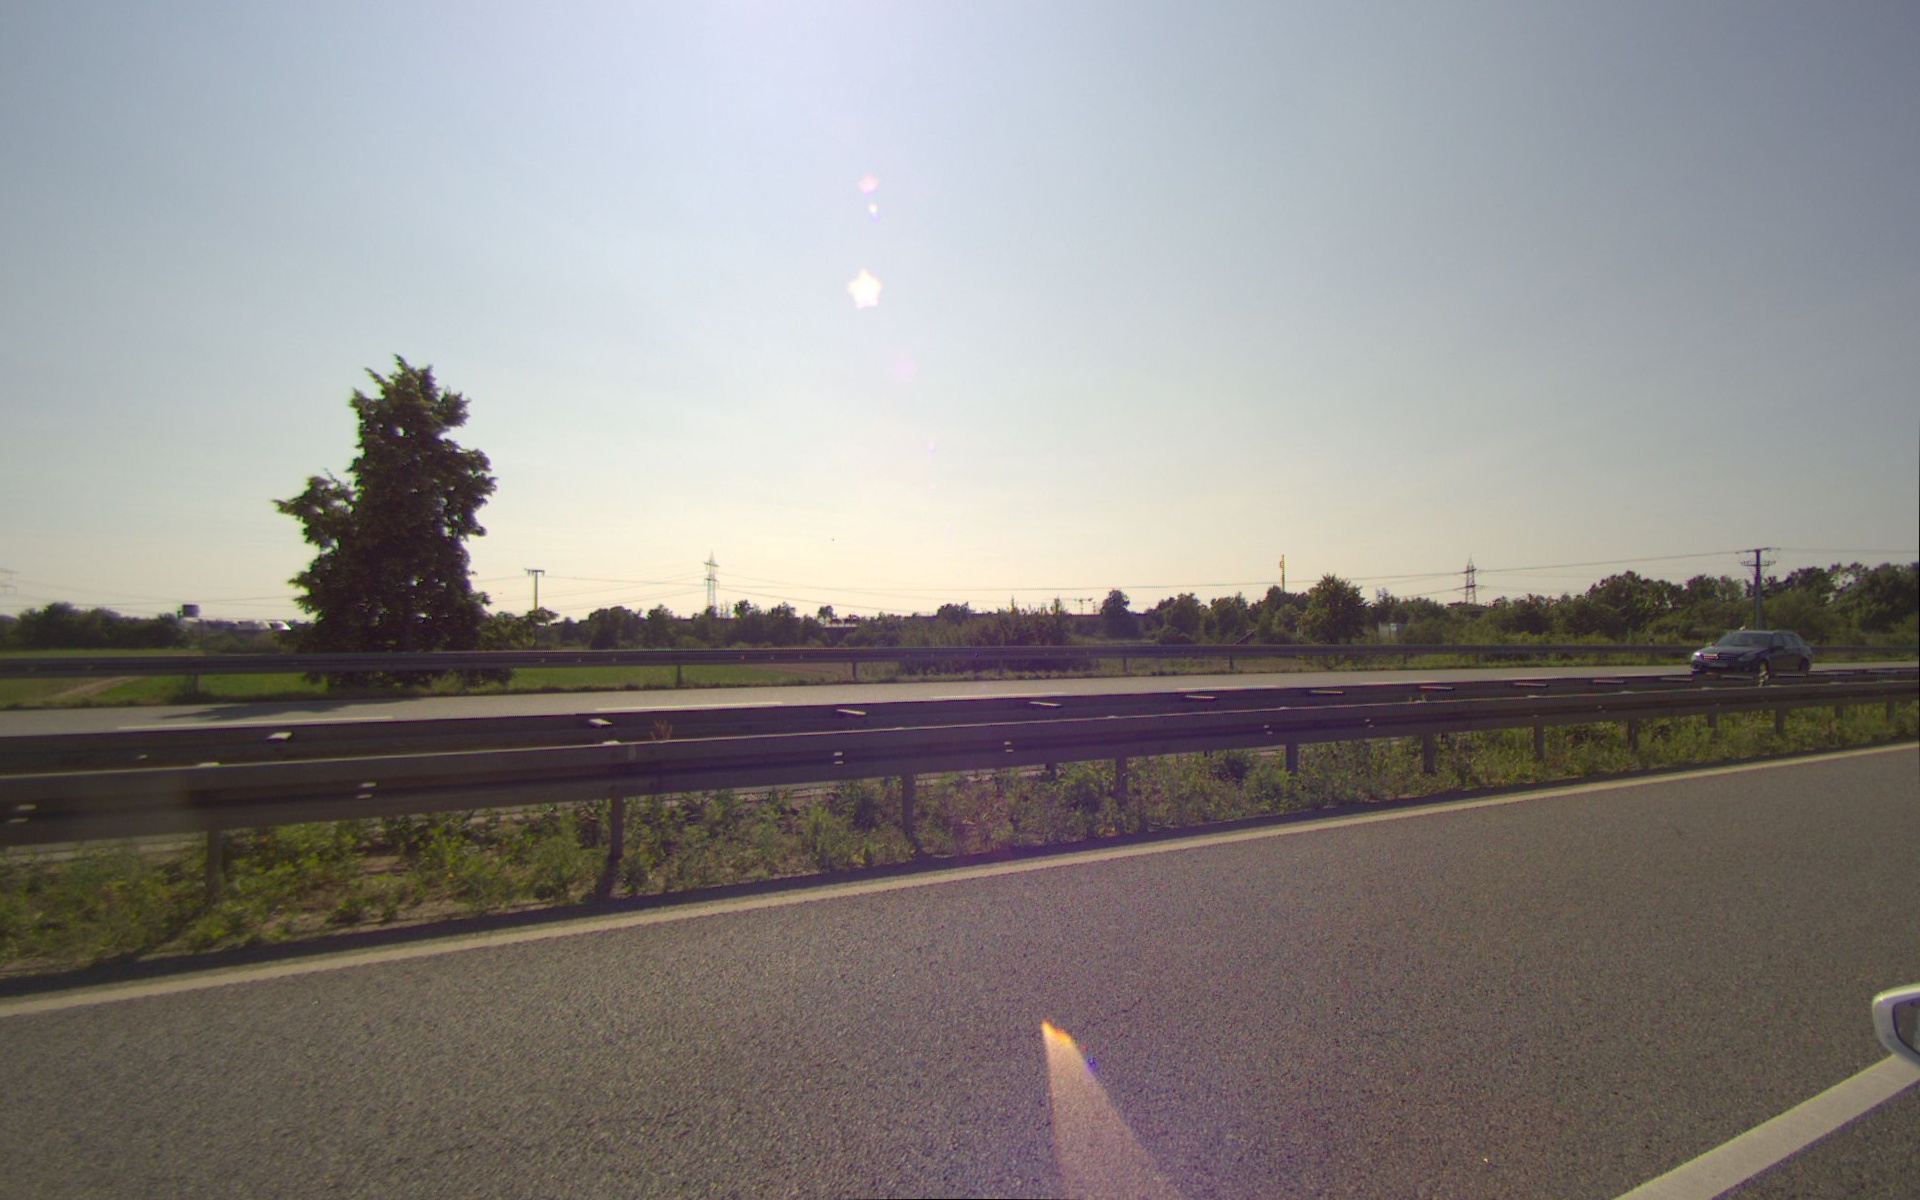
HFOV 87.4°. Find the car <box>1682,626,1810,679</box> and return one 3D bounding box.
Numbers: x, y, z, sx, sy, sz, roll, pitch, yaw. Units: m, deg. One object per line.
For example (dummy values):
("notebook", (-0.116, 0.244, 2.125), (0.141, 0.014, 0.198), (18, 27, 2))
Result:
("car", (23.814, 1.551, 30.387), (4.275, 1.469, 1.704), (1, -1, -32))
